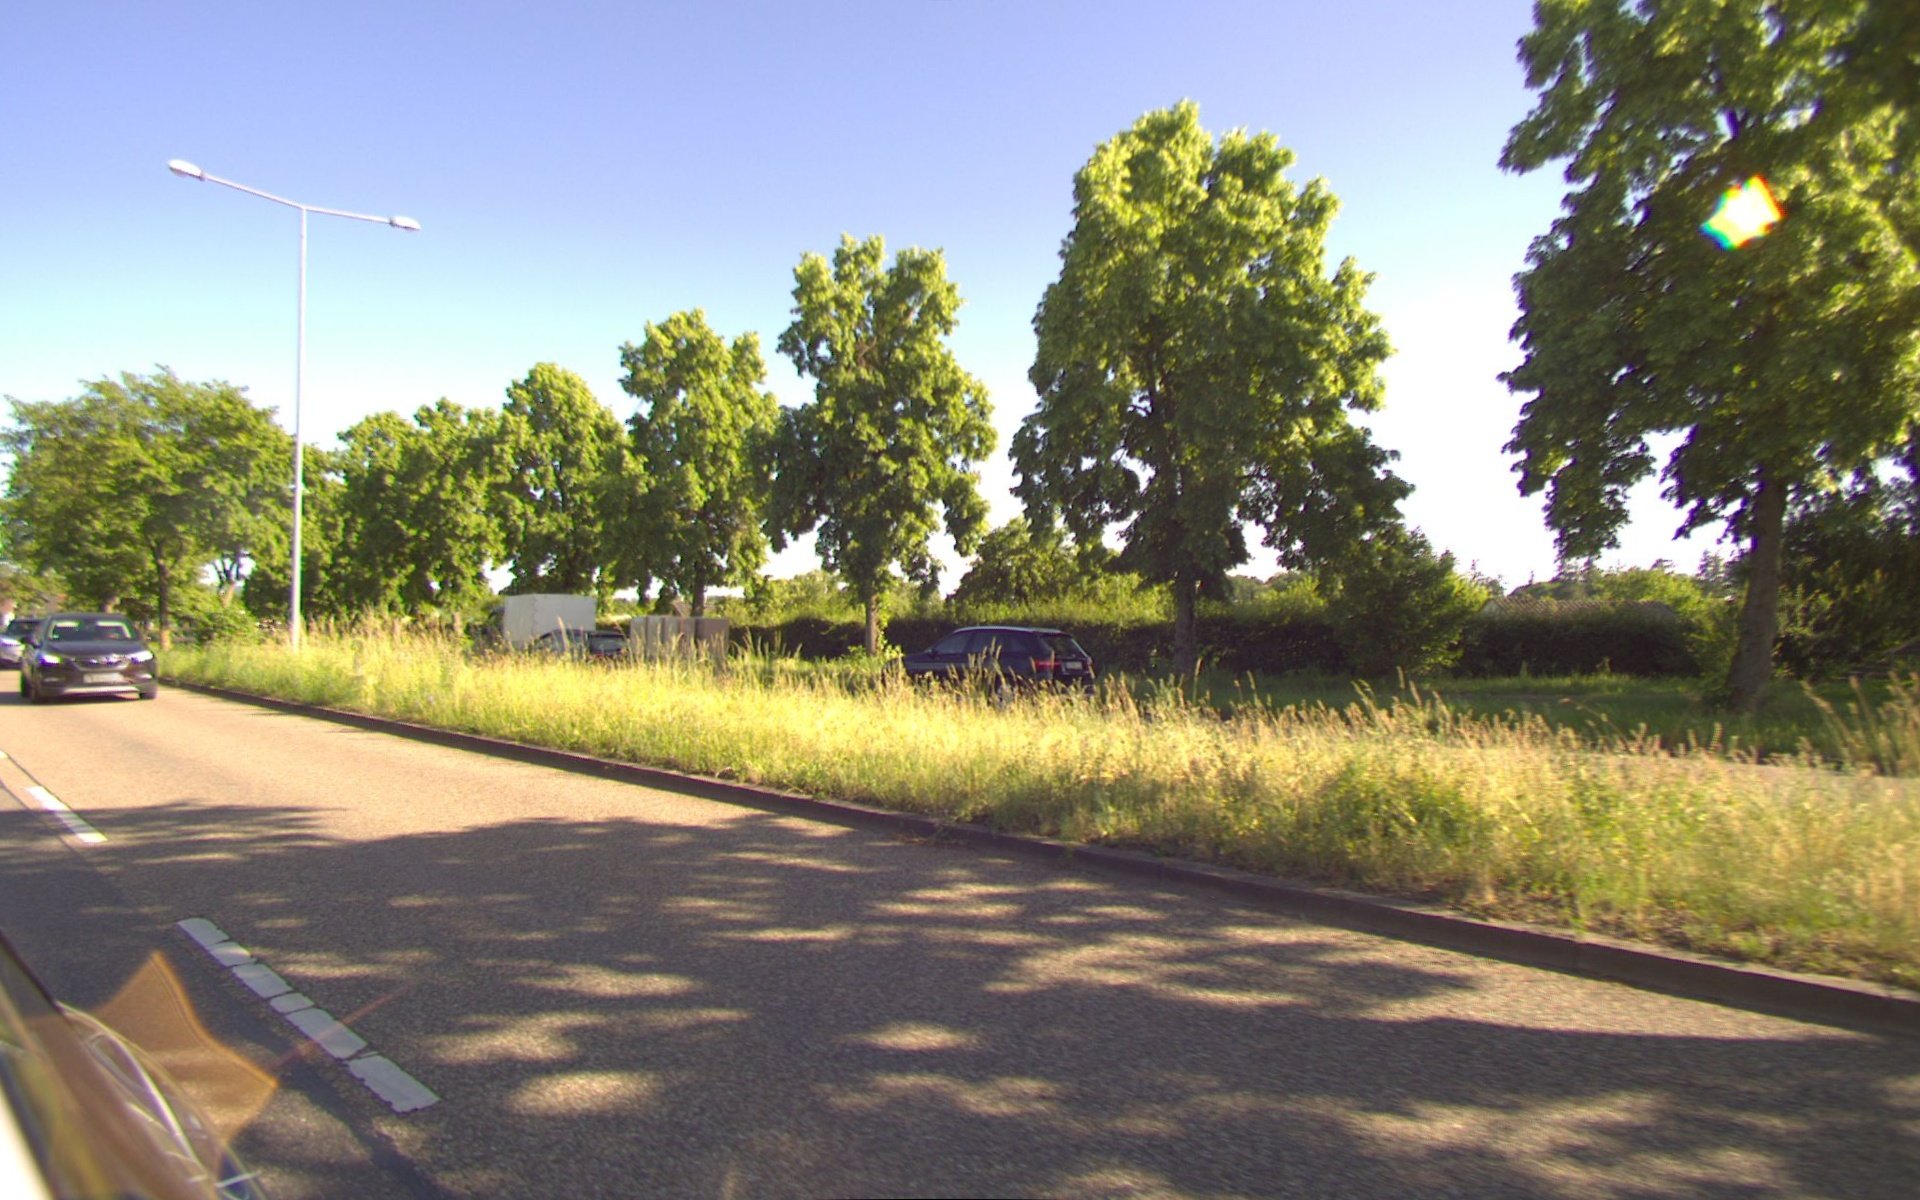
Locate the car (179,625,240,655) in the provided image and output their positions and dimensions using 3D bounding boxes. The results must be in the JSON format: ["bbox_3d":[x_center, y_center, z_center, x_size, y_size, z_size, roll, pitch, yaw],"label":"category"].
[{"bbox_3d":[-42.992,2.281,57.941,5.576,1.618,1.835,-2,-4,44],"label":"car"}]

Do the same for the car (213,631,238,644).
[{"bbox_3d":[-87.148,4.467,120.065,1.669,1.447,4.955,3,-4,-28],"label":"car"}]

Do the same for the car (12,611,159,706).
[{"bbox_3d":[-16.873,1.035,19.445,1.786,1.627,4.517,2,-2,-45],"label":"car"}]

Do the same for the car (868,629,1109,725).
[{"bbox_3d":[0.440,1.380,19.358,4.576,1.632,1.731,-2,-3,41],"label":"car"}]

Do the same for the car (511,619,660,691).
[{"bbox_3d":[-9.126,1.279,24.530,4.023,1.594,1.677,-1,-2,42],"label":"car"}]

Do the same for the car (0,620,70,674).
[{"bbox_3d":[-29.471,1.456,32.106,1.797,1.574,4.652,1,-2,-42],"label":"car"}]

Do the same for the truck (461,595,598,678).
[{"bbox_3d":[-14.514,1.237,33.924,5.744,2.532,2.147,-2,-5,45],"label":"truck"}]

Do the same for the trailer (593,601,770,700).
[{"bbox_3d":[-6.053,1.043,21.738,4.280,1.925,1.546,-2,-3,41],"label":"trailer"}]
